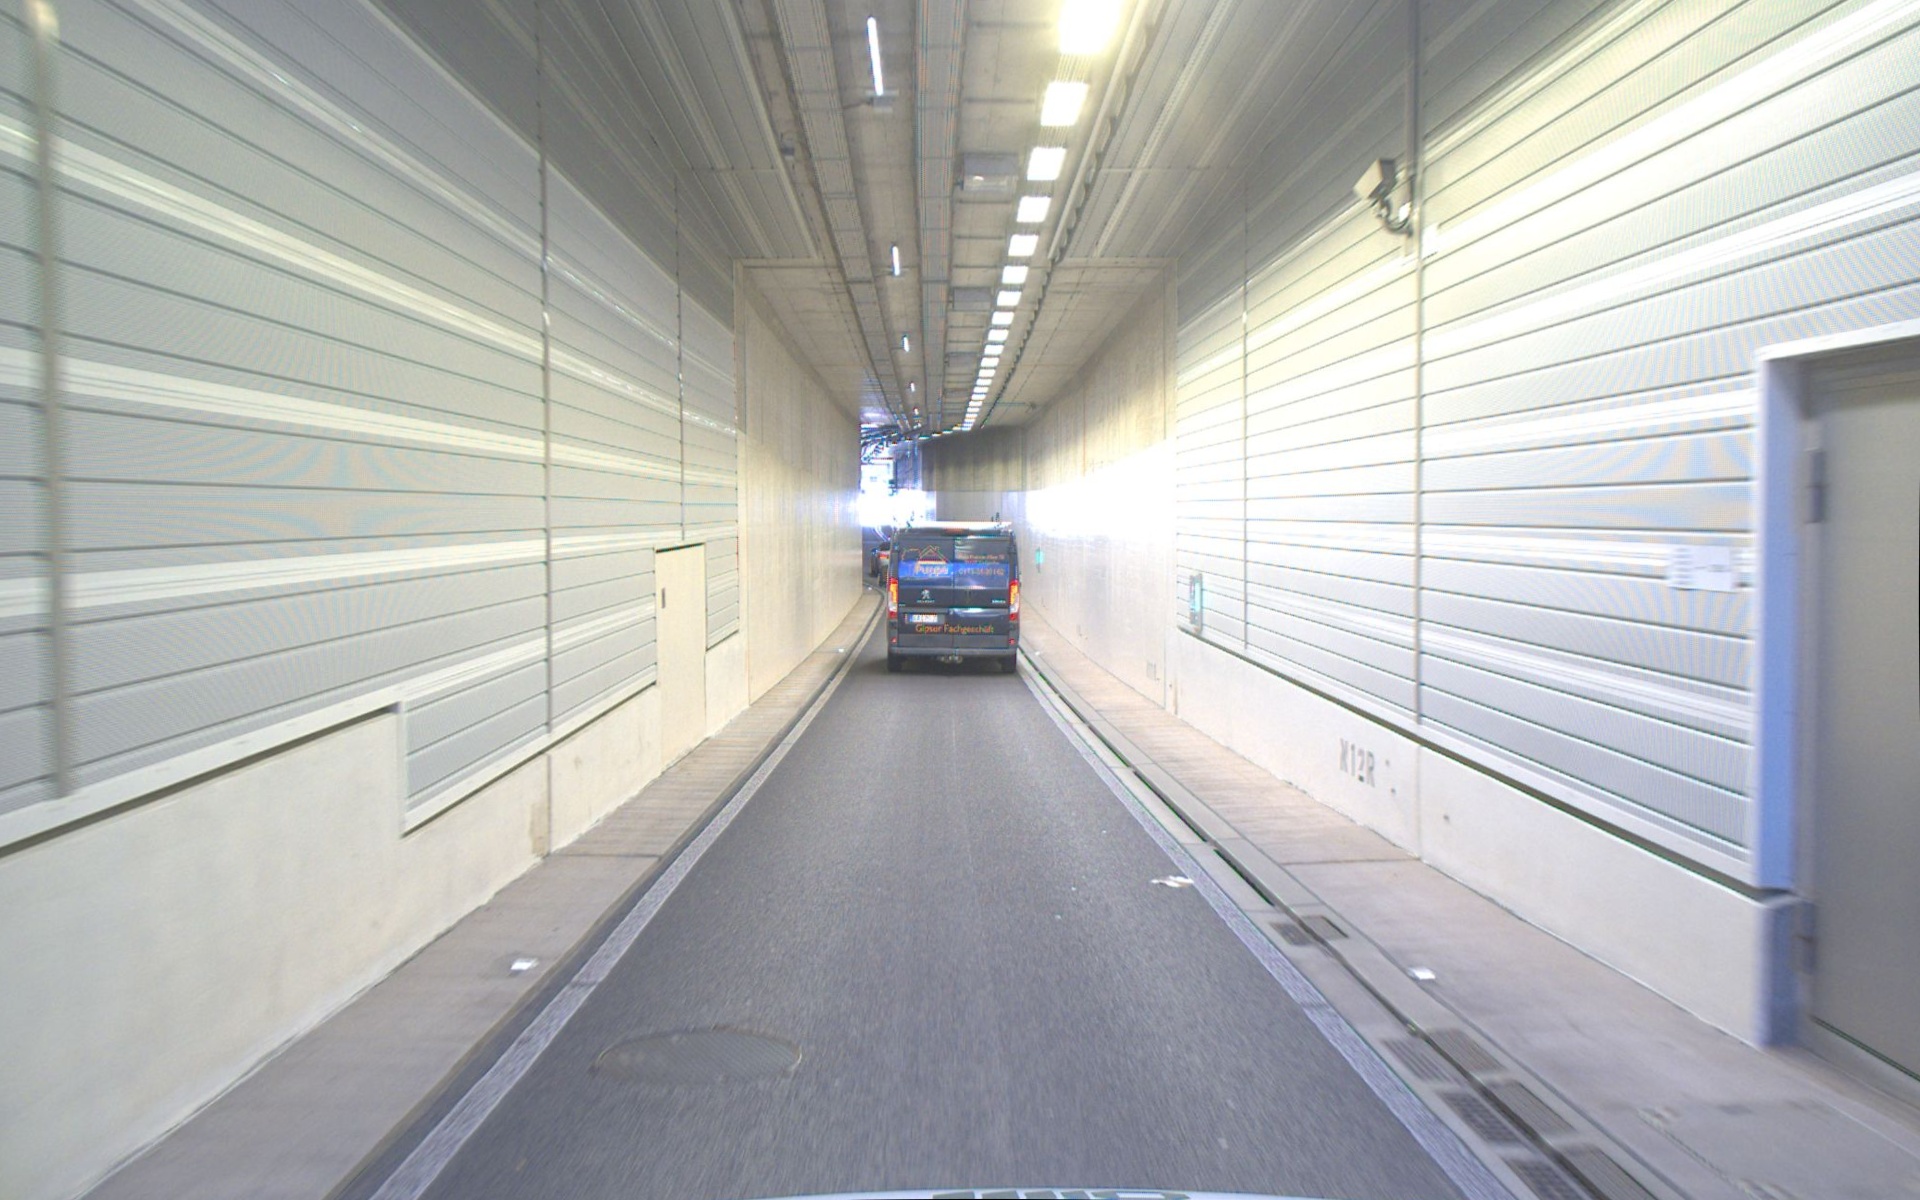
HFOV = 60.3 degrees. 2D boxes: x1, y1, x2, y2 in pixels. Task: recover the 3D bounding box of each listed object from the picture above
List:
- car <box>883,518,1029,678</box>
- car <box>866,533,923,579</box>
[{"bbox_3d":[-0.108,-0.080,26.592,2.115,2.305,4.636,1,1,-1],"label":"car"},{"bbox_3d":[-2.447,-1.669,61.564,2.043,1.539,4.636,0,3,-3],"label":"car"}]
